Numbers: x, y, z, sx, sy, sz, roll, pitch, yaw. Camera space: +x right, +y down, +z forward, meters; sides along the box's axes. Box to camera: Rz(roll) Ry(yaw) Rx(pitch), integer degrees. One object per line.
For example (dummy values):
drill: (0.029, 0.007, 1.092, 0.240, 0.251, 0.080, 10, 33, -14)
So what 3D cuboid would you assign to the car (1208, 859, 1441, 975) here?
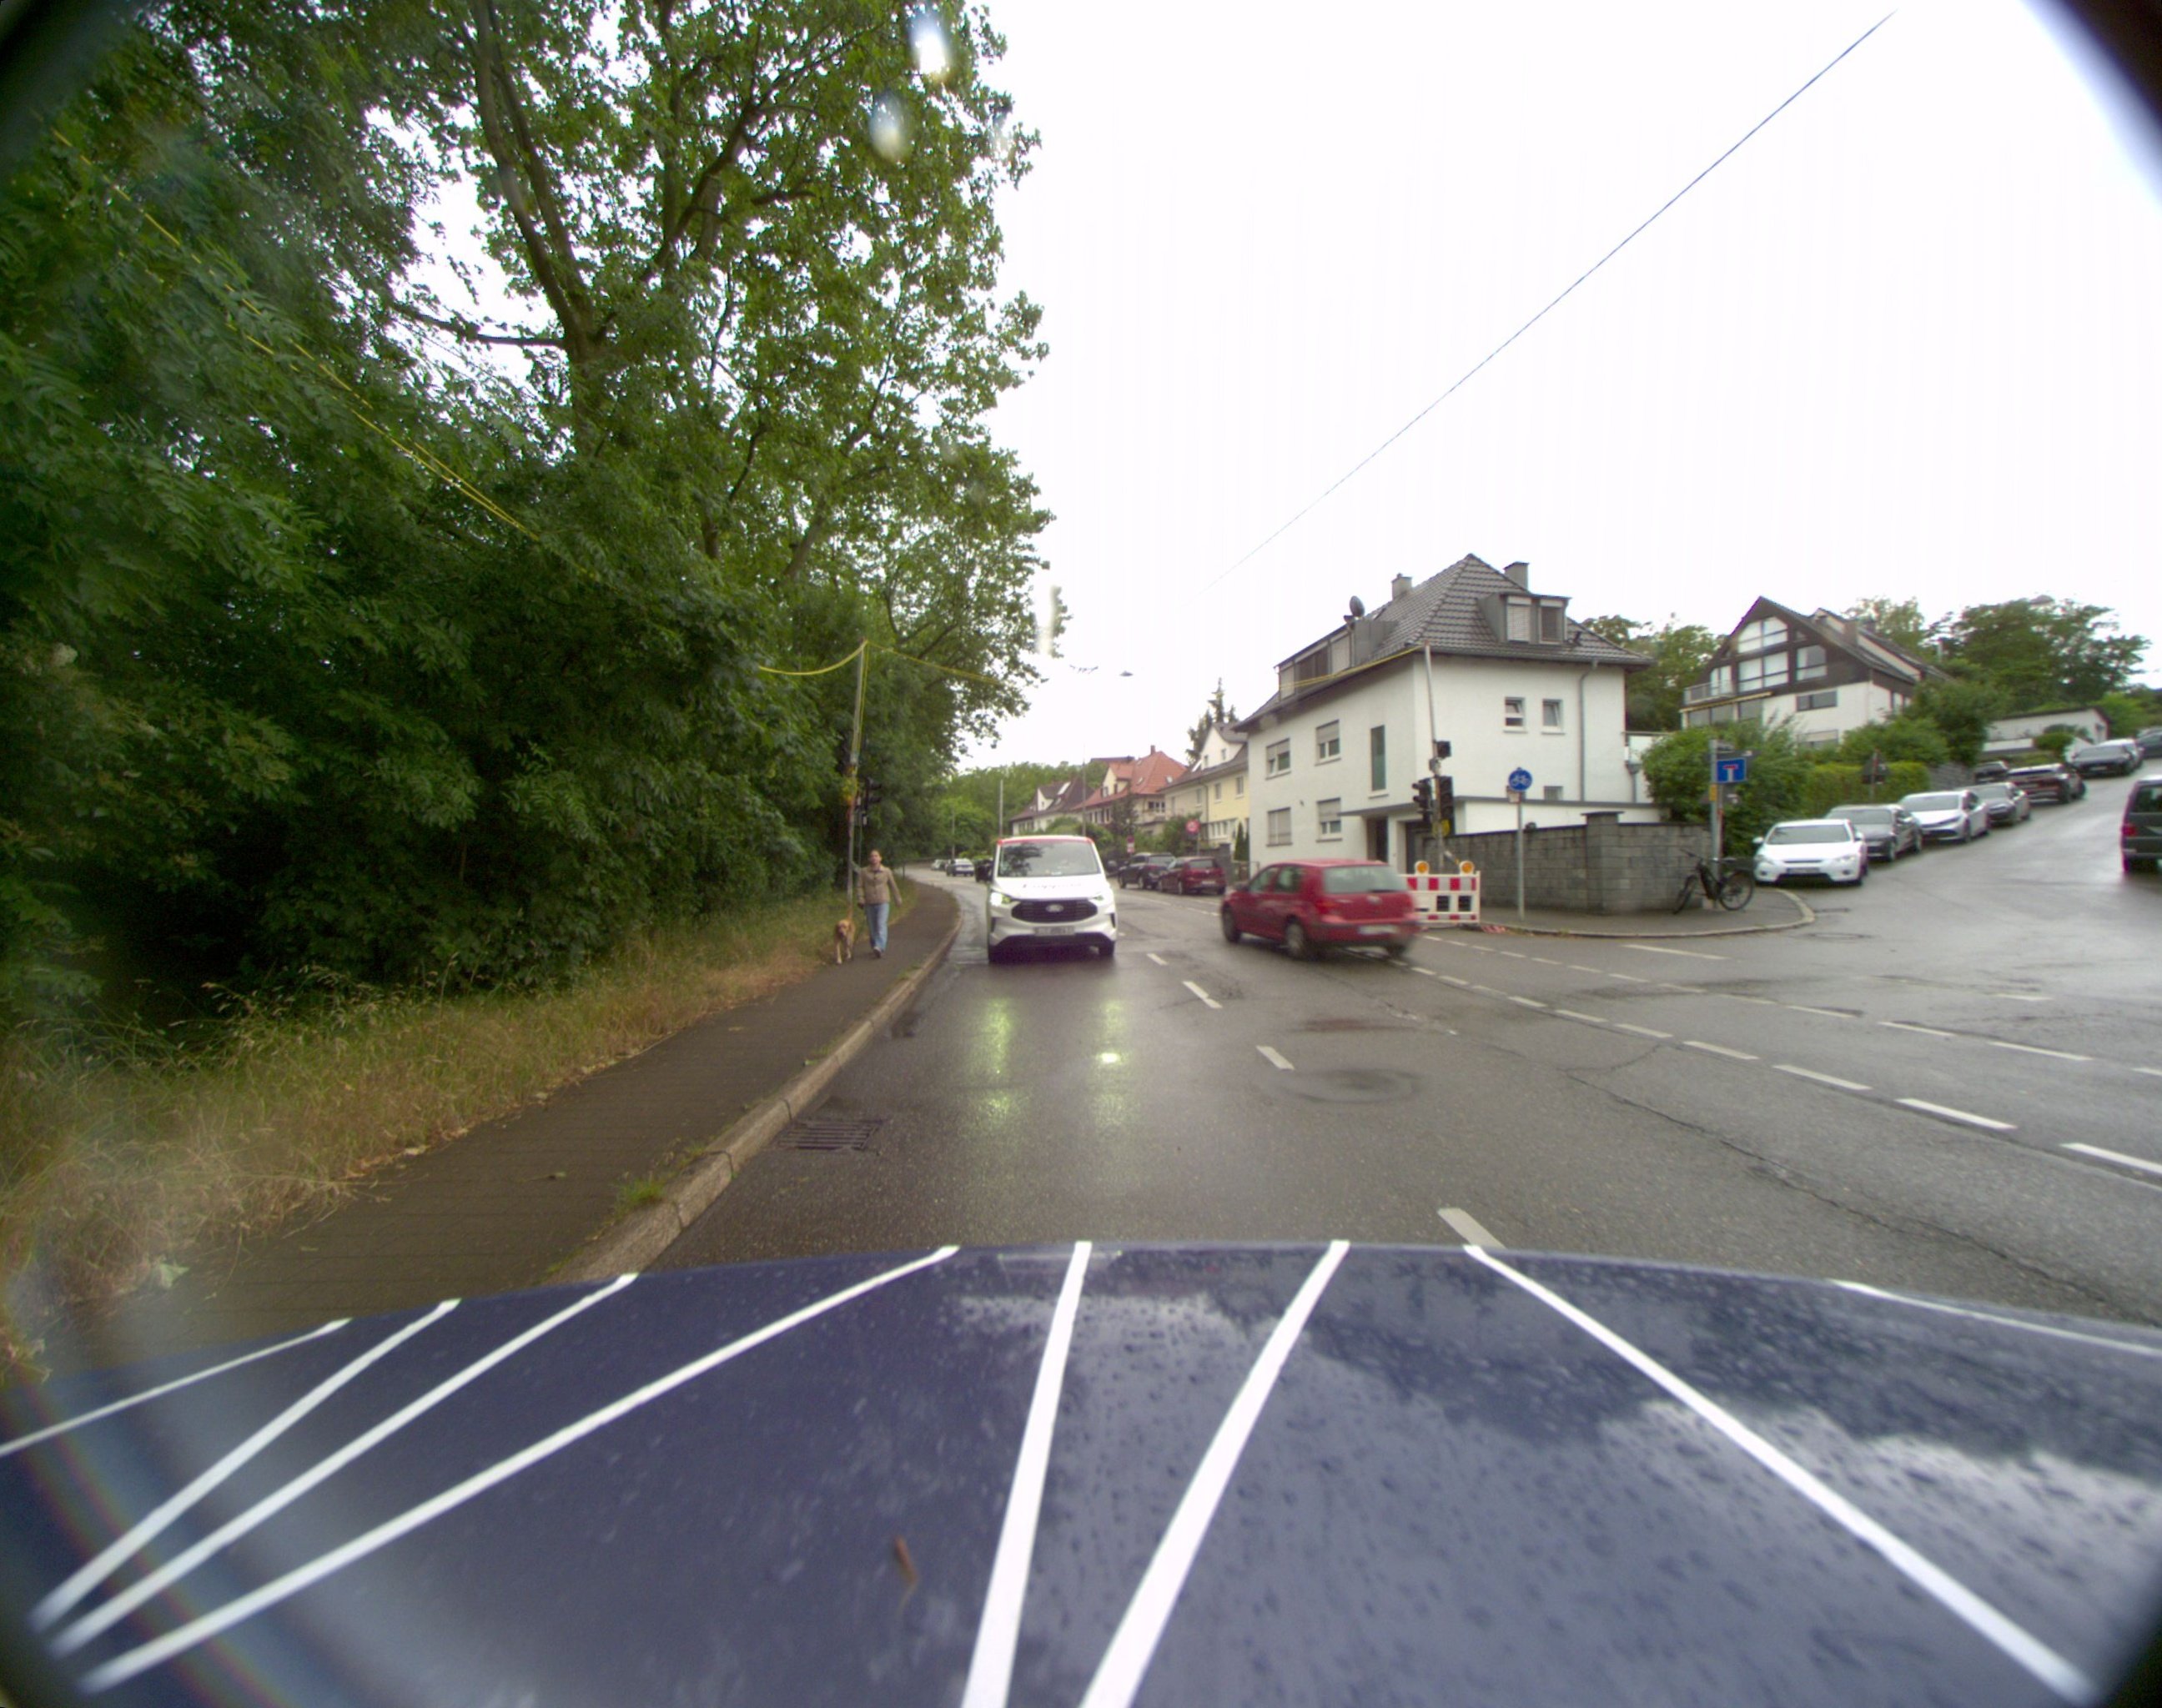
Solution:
car: (3.555, 0.839, 11.907, 1.770, 1.454, 3.882, -2, 0, -11)

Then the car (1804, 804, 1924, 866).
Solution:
car: (22.457, -0.556, 21.762, 3.910, 1.380, 1.719, -7, 3, -34)

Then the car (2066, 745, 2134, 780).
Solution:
car: (54.810, -4.872, 40.844, 4.034, 1.511, 1.786, -2, 0, -31)

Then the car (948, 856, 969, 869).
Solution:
car: (-15.240, 1.072, 94.181, 2.071, 1.477, 4.556, -2, 0, -16)

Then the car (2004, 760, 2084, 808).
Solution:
car: (40.713, -2.978, 32.116, 4.004, 1.617, 1.638, -8, 4, -32)

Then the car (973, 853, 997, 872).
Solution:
car: (-9.614, 0.843, 75.960, 1.882, 1.814, 4.121, -2, 0, -14)

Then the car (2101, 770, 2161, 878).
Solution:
car: (23.876, -0.750, 16.265, 4.497, 2.003, 1.996, -7, 3, -31)

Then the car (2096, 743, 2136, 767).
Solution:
car: (59.832, -5.734, 43.901, 2.988, 1.191, 1.305, -6, 3, -35)

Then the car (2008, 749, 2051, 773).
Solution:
car: (57.234, -5.630, 45.869, 3.656, 1.205, 1.577, -7, 3, -38)

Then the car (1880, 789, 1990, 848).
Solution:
car: (27.263, -1.150, 24.235, 3.951, 1.462, 1.755, -7, 3, -33)

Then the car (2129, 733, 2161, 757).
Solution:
car: (68.320, -6.928, 47.701, 1.286, 1.310, 2.945, -3, 1, -36)

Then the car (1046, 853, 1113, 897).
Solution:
car: (-0.168, 0.839, 32.610, 2.000, 1.664, 4.683, -2, 0, -11)

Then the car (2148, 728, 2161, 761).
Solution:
car: (72.460, -7.438, 48.985, 2.003, 2.000, 3.993, -2, -4, -32)

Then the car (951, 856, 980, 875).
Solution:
car: (-10.391, 0.993, 67.897, 1.860, 1.518, 4.813, -3, 0, -16)

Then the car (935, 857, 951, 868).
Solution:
car: (-18.747, 1.132, 103.016, 1.691, 1.419, 3.770, -2, 0, -17)

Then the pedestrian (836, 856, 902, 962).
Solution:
pedestrian: (-3.113, 0.783, 11.218, 0.735, 1.490, 0.785, 2, 1, -1)

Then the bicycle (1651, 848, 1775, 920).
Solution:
bicycle: (11.581, 0.537, 13.939, 2.006, 1.232, 0.510, -2, 3, -8)

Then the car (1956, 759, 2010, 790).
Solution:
car: (52.862, -4.642, 44.520, 4.020, 1.545, 1.812, -3, 1, -37)

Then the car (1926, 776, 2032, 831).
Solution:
car: (32.321, -1.828, 27.337, 4.111, 1.430, 1.921, -9, 4, -33)

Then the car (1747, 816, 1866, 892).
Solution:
car: (17.770, -0.047, 18.541, 4.126, 1.455, 1.849, -7, 4, -43)

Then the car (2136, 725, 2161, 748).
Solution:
car: (81.114, -8.856, 55.962, 1.754, 1.508, 3.961, -3, 1, -35)

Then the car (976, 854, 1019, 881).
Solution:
car: (-5.460, 0.836, 49.349, 1.874, 1.612, 4.158, -2, 0, -18)

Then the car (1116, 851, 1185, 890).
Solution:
car: (3.124, 0.732, 35.037, 1.798, 1.630, 4.150, -1, 0, -15)

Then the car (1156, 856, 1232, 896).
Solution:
car: (4.376, 0.818, 29.909, 1.787, 1.423, 3.844, -2, 0, -10)

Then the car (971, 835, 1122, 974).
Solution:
car: (-0.736, 0.715, 13.371, 2.103, 1.908, 5.087, -2, 0, -6)
